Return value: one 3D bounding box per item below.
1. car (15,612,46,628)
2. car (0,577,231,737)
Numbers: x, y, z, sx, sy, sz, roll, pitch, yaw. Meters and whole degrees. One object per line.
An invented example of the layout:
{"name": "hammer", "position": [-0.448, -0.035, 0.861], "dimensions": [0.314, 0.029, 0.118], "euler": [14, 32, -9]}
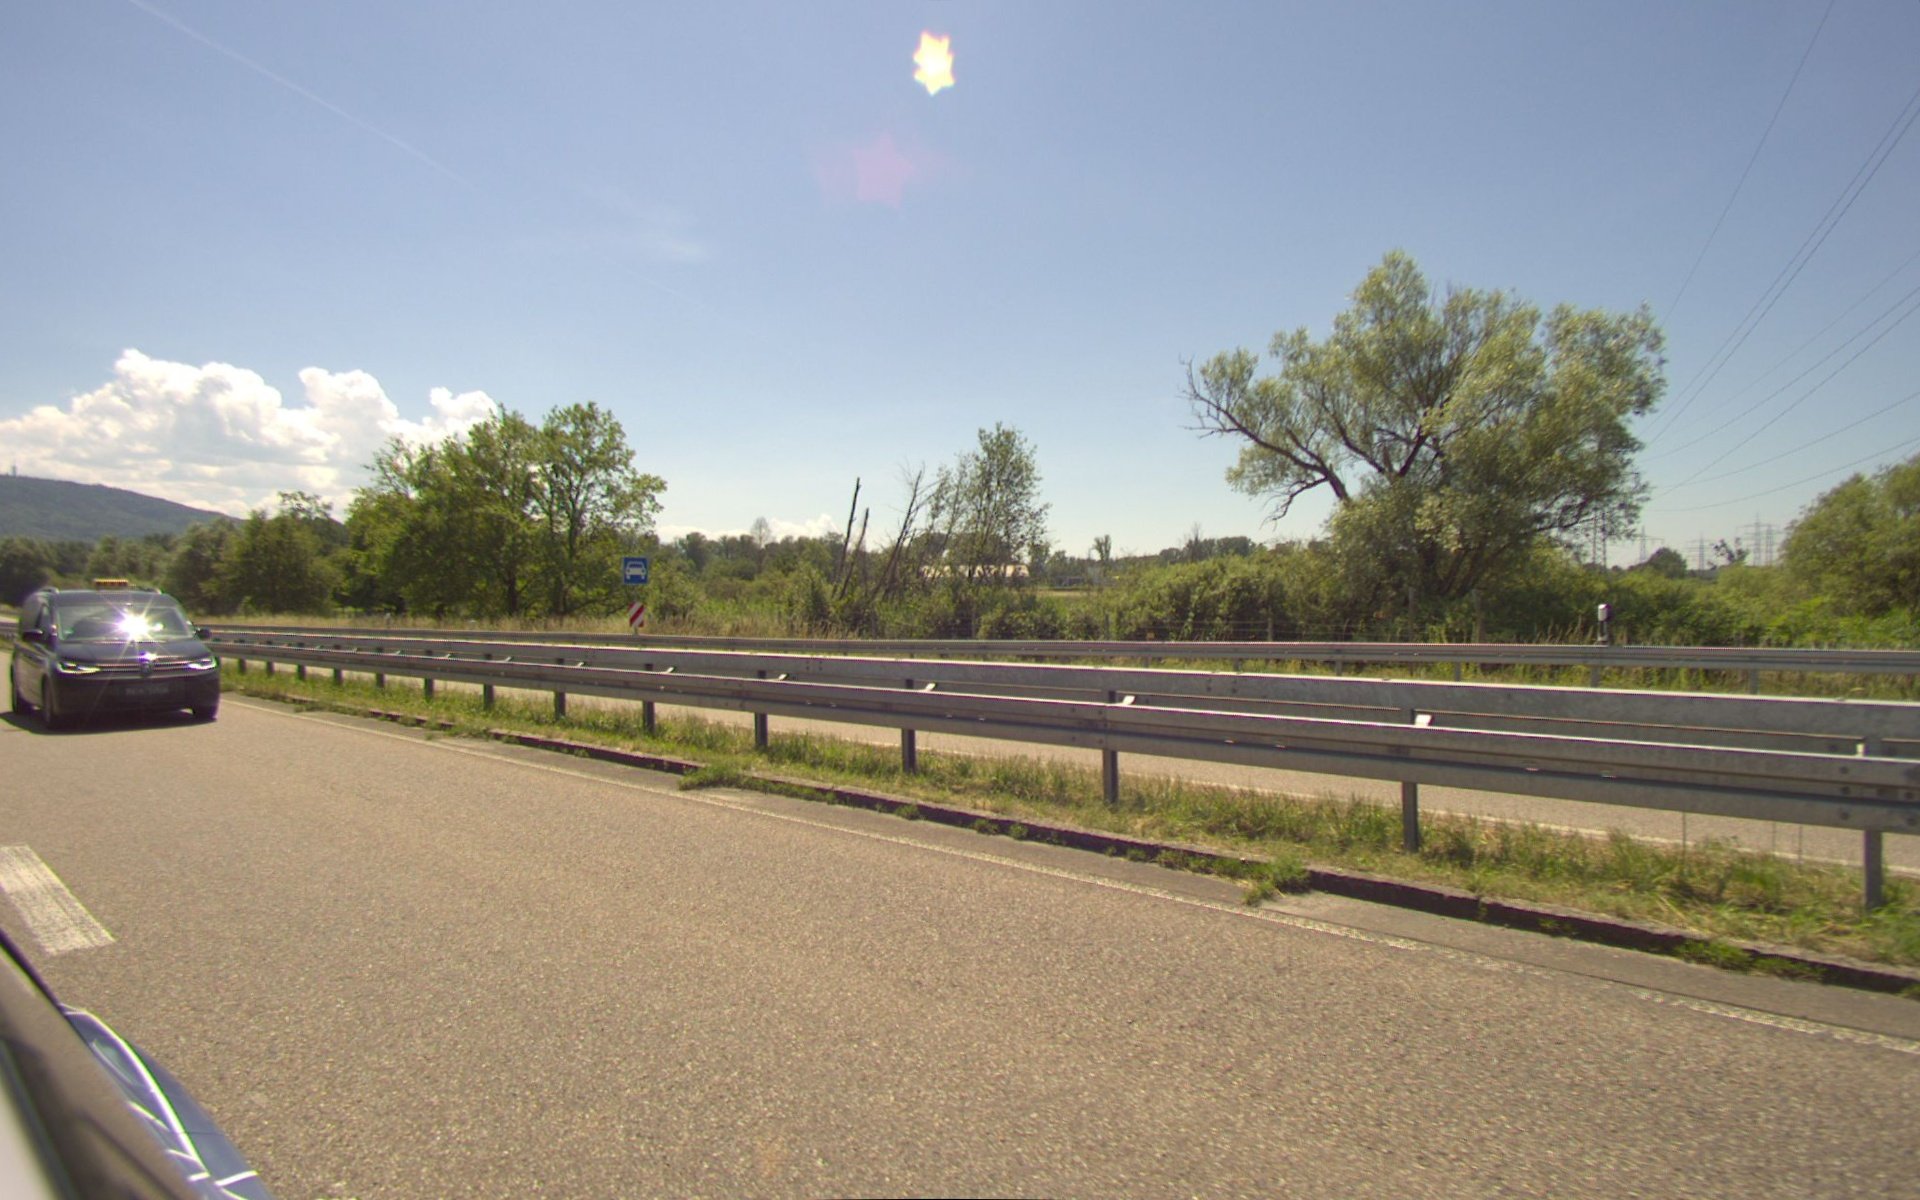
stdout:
{"name": "car", "position": [-93.473, 2.012, 101.750], "dimensions": [4.169, 1.630, 1.823], "euler": [-1, -1, 42]}
{"name": "car", "position": [-12.351, 0.715, 14.574], "dimensions": [5.571, 1.901, 1.835], "euler": [-1, -1, 42]}
